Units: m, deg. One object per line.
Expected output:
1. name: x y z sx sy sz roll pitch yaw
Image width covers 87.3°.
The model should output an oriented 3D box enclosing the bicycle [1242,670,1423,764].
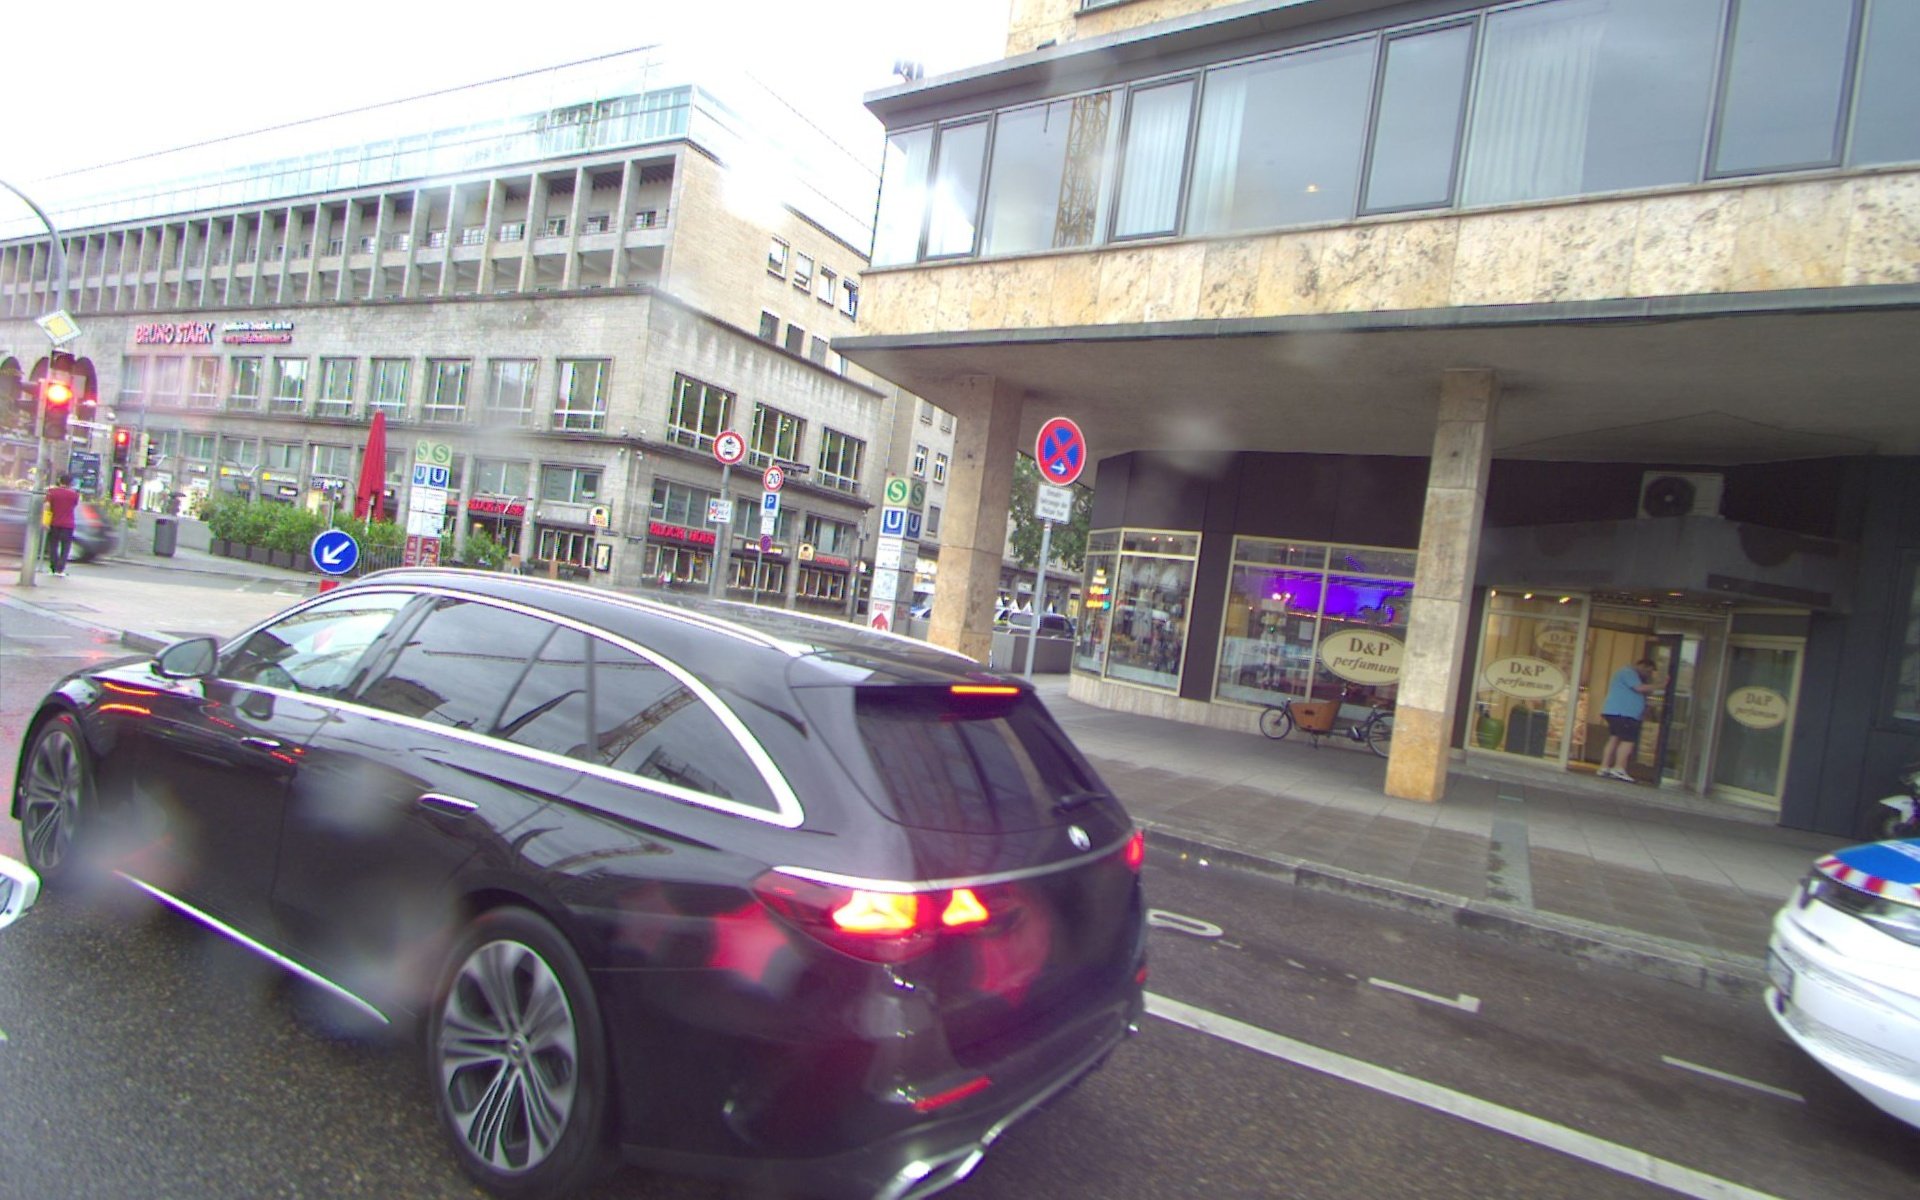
1. bicycle: 5.700 1.769 15.484 2.431 1.058 0.657 6 -1 32

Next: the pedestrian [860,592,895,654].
1. pedestrian: -2.483 0.687 30.265 0.768 1.777 0.503 8 -1 -15

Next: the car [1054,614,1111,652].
1. car: 8.653 2.341 70.539 1.967 2.065 4.831 7 -2 31

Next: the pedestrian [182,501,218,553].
1. pedestrian: -32.367 -3.097 42.855 0.754 2.037 0.822 8 -1 -16

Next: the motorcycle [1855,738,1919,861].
1. motorcycle: 10.926 2.248 10.620 2.074 1.232 0.567 6 -1 40

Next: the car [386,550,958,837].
1. car: -2.469 0.621 8.285 4.451 1.503 1.878 6 -2 31

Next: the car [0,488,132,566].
1. car: -21.297 -1.743 22.677 3.626 1.414 1.839 9 -2 -28

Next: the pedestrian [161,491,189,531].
1. pedestrian: -43.452 -4.919 55.698 0.811 2.037 0.764 7 -1 32

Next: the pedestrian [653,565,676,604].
1. pedestrian: -12.307 -0.647 41.918 0.748 1.530 0.714 8 -1 -16

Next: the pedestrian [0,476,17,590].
1. pedestrian: -14.197 -1.020 14.333 0.609 1.627 0.801 7 -1 28

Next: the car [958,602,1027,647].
1. car: 1.950 1.434 58.572 1.966 2.065 4.557 7 -2 29

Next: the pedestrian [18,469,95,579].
1. pedestrian: -15.560 -1.282 17.343 0.561 1.772 0.678 7 -1 -15

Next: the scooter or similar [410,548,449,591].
1. scooter or similar: -16.573 -0.963 31.401 1.000 1.203 0.291 7 -1 13

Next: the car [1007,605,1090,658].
1. car: 4.189 1.498 46.769 1.966 1.995 4.638 7 -1 29

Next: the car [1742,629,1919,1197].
1. car: 5.748 1.394 3.137 4.853 1.942 1.878 7 -2 31

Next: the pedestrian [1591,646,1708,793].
1. pedestrian: 9.505 1.632 13.876 1.119 1.811 0.798 6 -1 39

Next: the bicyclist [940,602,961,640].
1. bicyclist: -0.416 0.937 44.108 0.601 1.558 0.719 7 -1 15

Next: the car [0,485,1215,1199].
1. car: -1.622 0.582 3.771 4.551 1.519 1.797 6 -2 31

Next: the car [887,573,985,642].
1. car: -1.113 0.462 51.424 1.966 2.792 6.185 7 -2 28
